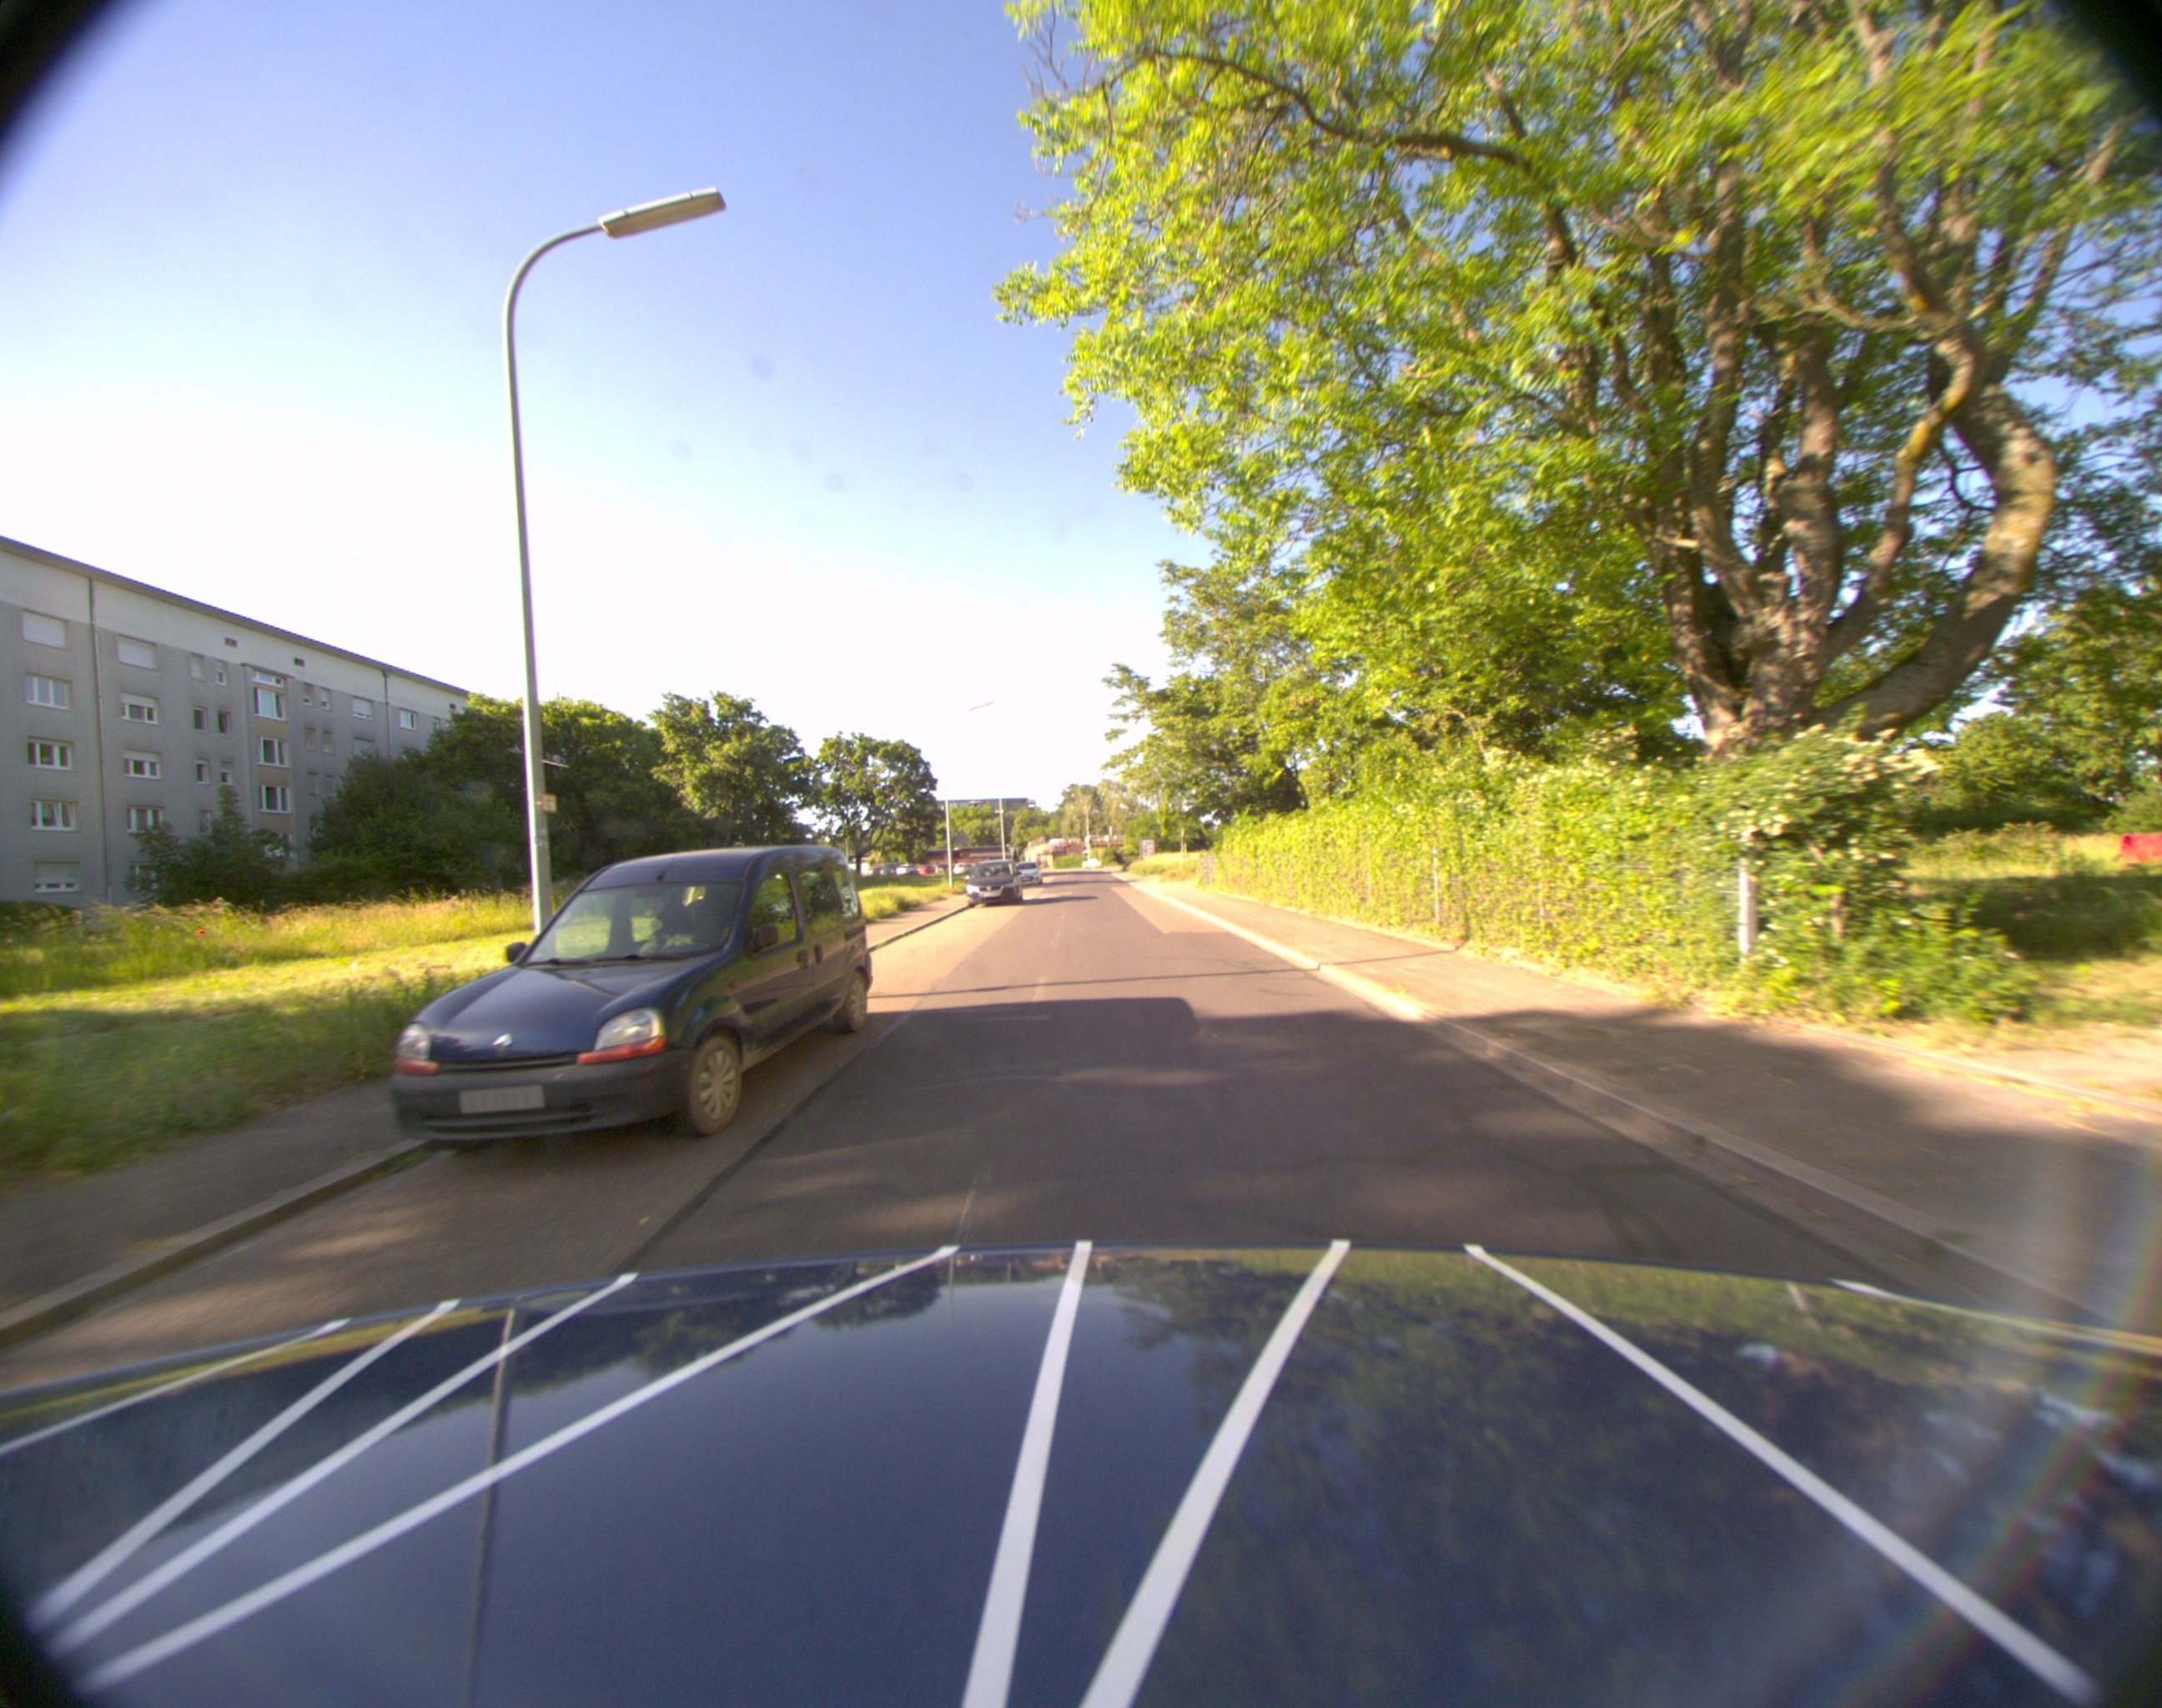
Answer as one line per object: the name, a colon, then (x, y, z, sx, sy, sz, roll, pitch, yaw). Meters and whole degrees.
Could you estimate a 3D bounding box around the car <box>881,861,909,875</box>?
car: (-25.511, 1.892, 104.308, 1.954, 1.763, 4.004, -2, 0, 13)

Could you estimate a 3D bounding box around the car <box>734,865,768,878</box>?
car: (-48.642, 2.582, 112.151, 1.953, 1.735, 4.709, -2, 0, 17)

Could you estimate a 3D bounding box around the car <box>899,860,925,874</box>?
car: (-23.009, 1.812, 103.746, 1.858, 1.763, 4.004, -2, 0, 13)

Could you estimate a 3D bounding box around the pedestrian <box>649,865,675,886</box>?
pedestrian: (-41.685, 2.153, 75.570, 1.490, 2.019, 1.699, -2, 0, 2)

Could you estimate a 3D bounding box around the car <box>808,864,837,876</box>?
car: (-36.774, 2.326, 108.259, 1.954, 1.552, 4.004, -2, 0, 13)

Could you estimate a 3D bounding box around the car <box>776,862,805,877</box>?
car: (-41.820, 2.270, 109.556, 1.997, 2.002, 4.003, -2, 0, 11)

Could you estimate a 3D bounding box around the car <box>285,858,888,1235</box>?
car: (-2.940, 0.960, 5.755, 1.702, 1.720, 4.084, -4, 0, 2)

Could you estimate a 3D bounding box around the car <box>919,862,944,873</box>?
car: (-20.414, 1.843, 104.034, 1.862, 1.461, 4.004, -2, 0, 13)

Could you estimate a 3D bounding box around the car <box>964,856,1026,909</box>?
car: (-3.049, 0.965, 27.722, 1.844, 1.642, 4.467, -4, 0, -3)

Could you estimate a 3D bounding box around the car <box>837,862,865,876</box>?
car: (-32.364, 2.105, 107.175, 1.954, 1.763, 4.003, -2, 2, 13)

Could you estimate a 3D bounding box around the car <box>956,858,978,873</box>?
car: (-15.375, 1.494, 102.622, 1.954, 1.849, 4.002, -2, 0, 7)

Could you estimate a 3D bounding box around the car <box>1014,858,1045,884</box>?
car: (-3.205, 1.037, 48.011, 1.656, 1.471, 3.916, -4, 0, -1)

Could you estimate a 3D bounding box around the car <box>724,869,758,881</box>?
car: (-44.450, 2.785, 99.355, 3.632, 1.442, 2.002, -2, 0, 17)

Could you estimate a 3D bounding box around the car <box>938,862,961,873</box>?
car: (-17.729, 1.797, 102.951, 1.779, 1.316, 4.003, -2, 0, 10)
